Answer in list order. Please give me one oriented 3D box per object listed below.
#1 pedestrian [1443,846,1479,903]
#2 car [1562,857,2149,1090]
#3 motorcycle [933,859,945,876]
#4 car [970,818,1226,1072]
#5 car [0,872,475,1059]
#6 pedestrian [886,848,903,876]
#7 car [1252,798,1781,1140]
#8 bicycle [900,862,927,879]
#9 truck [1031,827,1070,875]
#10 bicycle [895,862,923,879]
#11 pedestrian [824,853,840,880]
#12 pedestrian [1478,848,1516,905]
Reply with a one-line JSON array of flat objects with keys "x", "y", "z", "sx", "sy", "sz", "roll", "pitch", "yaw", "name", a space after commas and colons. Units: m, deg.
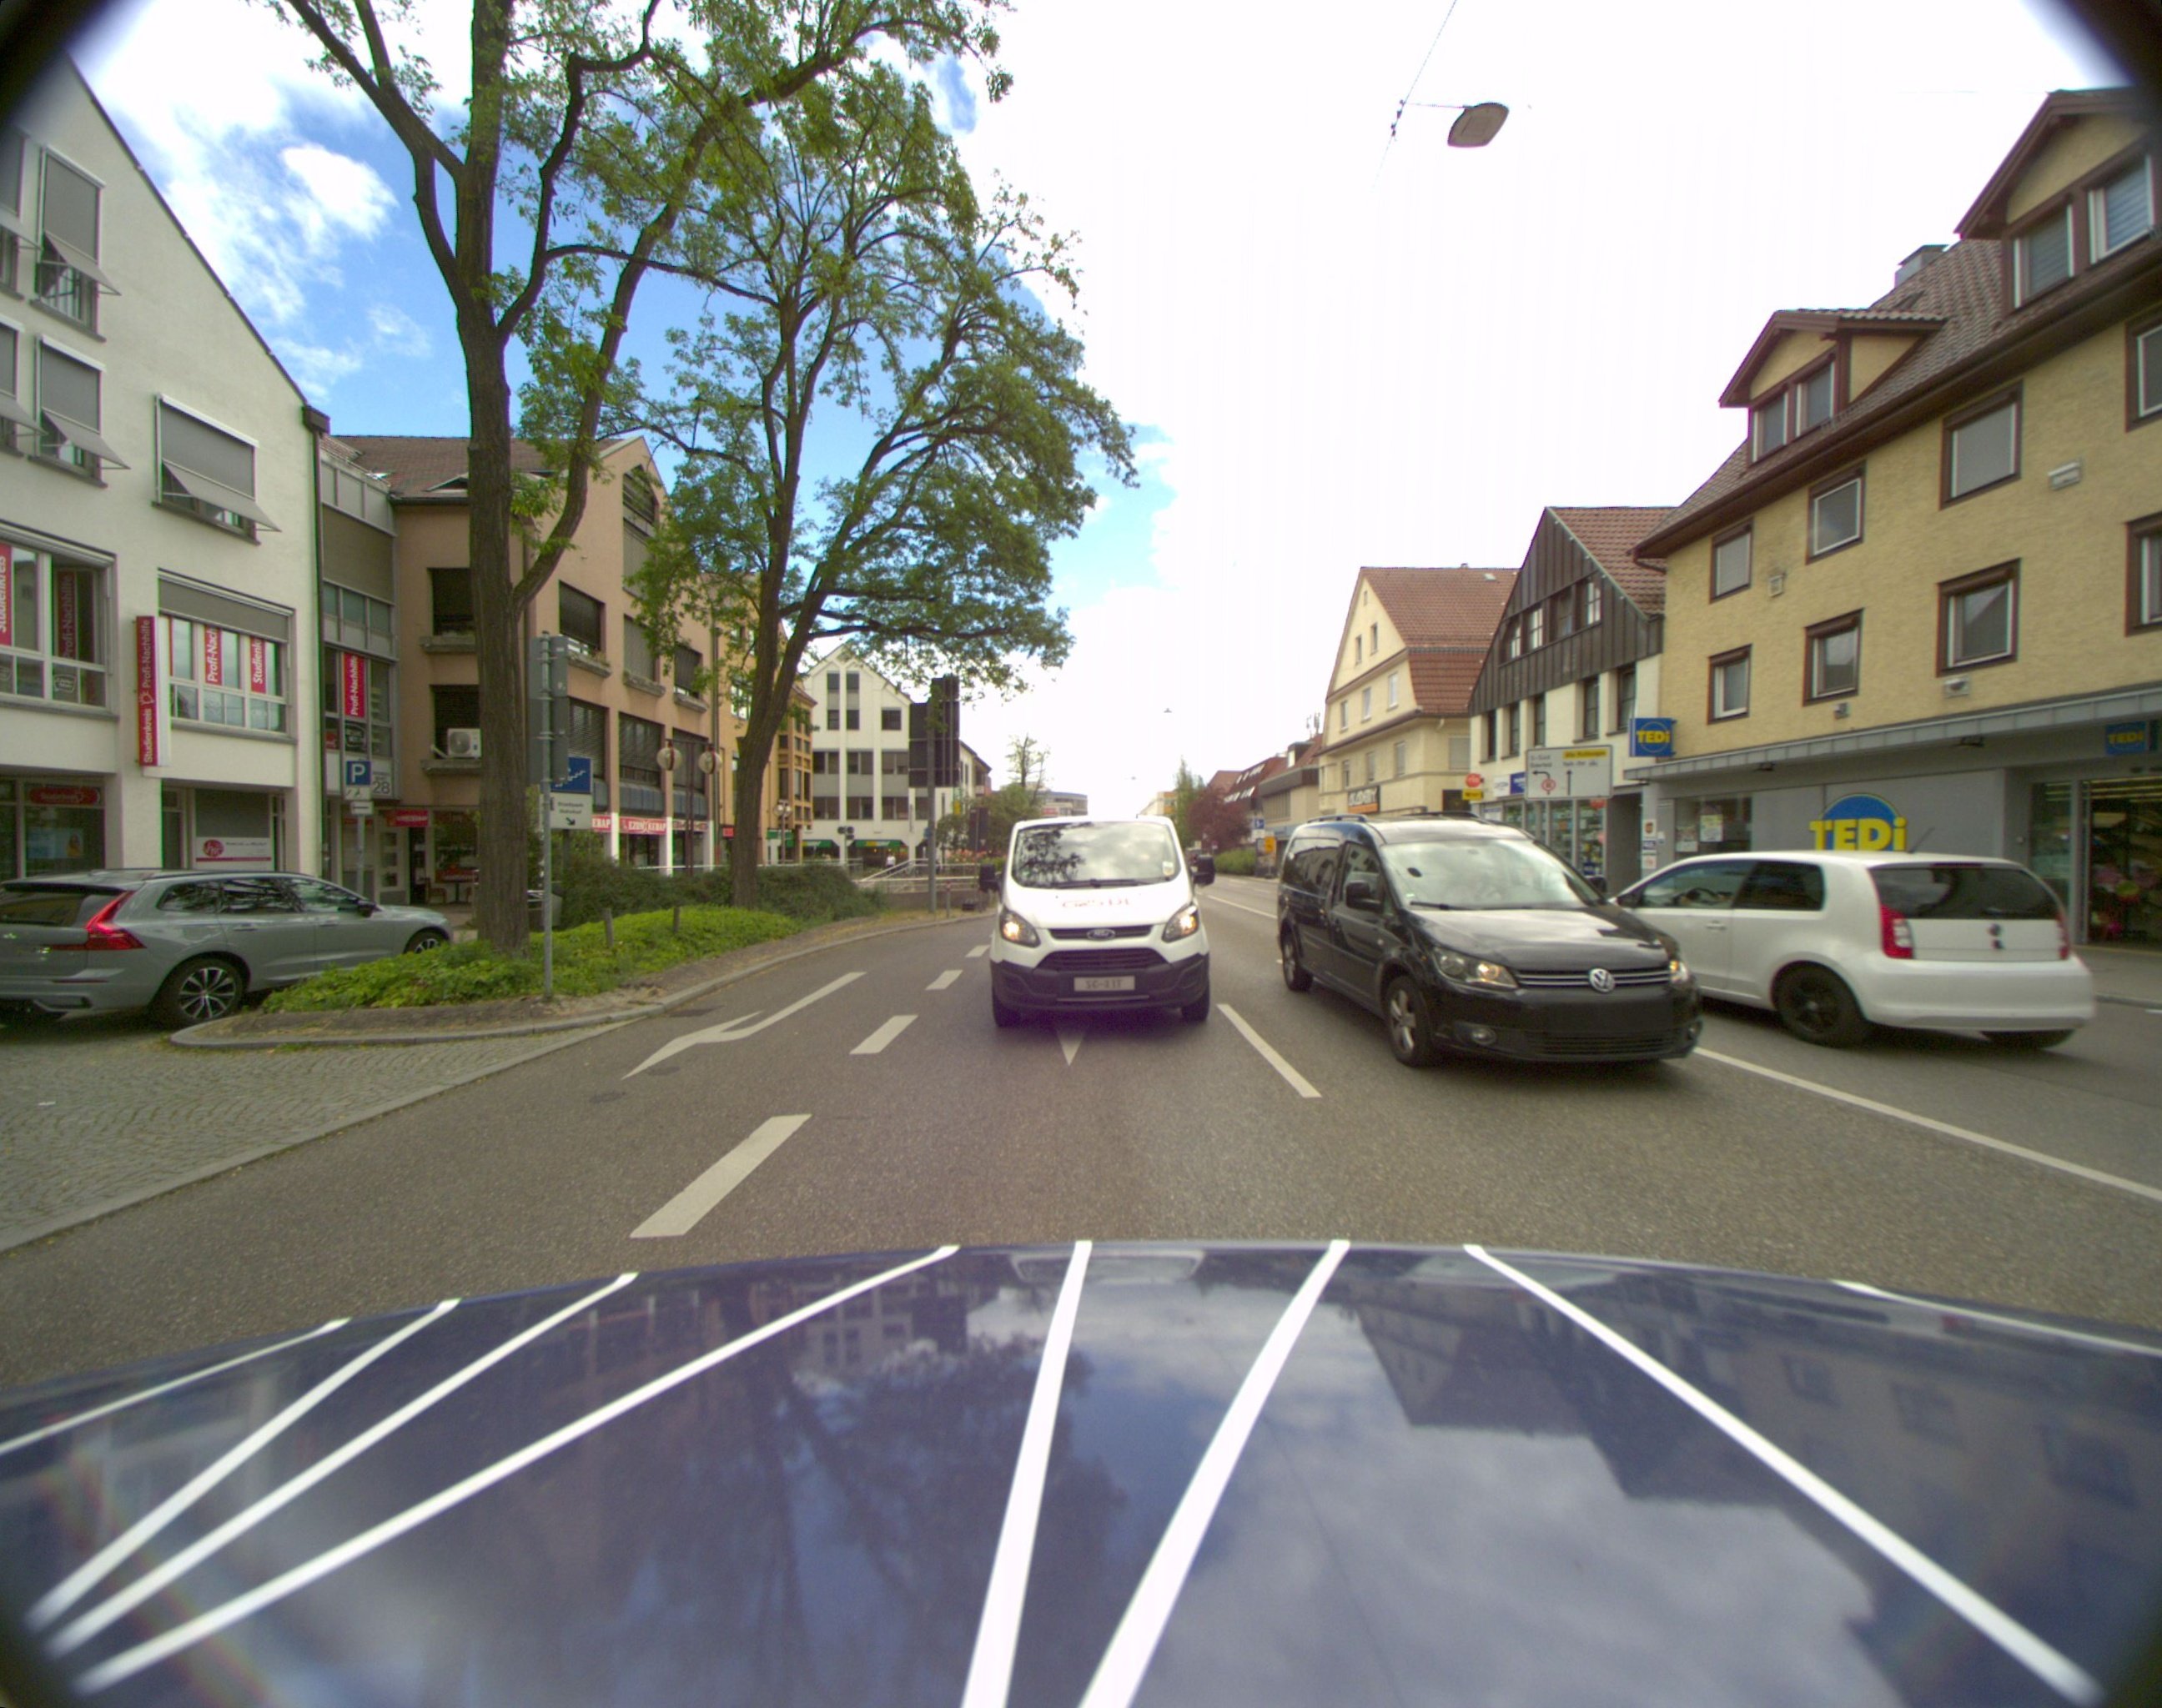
[{"x": 11.526, "y": 0.615, "z": 23.038, "sx": 0.689, "sy": 1.680, "sz": 0.742, "roll": -2, "pitch": 1, "yaw": 1, "name": "pedestrian"}, {"x": 6.095, "y": 0.778, "z": 6.637, "sx": 1.578, "sy": 1.480, "sz": 3.463, "roll": 0, "pitch": 0, "yaw": 0, "name": "car"}, {"x": -9.687, "y": 0.914, "z": 51.919, "sx": 0.464, "sy": 1.062, "sz": 1.995, "roll": 0, "pitch": 0, "yaw": 1, "name": "motorcycle"}, {"x": 0.145, "y": 0.696, "z": 8.464, "sx": 1.964, "sy": 1.948, "sz": 5.164, "roll": -1, "pitch": 0, "yaw": 0, "name": "car"}, {"x": -10.311, "y": 1.090, "z": 9.353, "sx": 1.999, "sy": 1.586, "sz": 4.762, "roll": 0, "pitch": 0, "yaw": -2, "name": "car"}, {"x": -12.328, "y": 0.548, "z": 50.341, "sx": 0.871, "sy": 1.812, "sz": 0.785, "roll": -2, "pitch": 1, "yaw": -3, "name": "pedestrian"}, {"x": 2.968, "y": 0.635, "z": 6.557, "sx": 1.749, "sy": 1.844, "sz": 4.633, "roll": -2, "pitch": 0, "yaw": -2, "name": "car"}, {"x": -10.273, "y": 1.007, "z": 46.627, "sx": 1.594, "sy": 0.963, "sz": 0.461, "roll": -1, "pitch": 1, "yaw": -14, "name": "bicycle"}, {"x": -2.318, "y": -0.277, "z": 60.866, "sx": 2.446, "sy": 3.464, "sz": 8.347, "roll": -2, "pitch": 1, "yaw": 1, "name": "truck"}, {"x": -10.401, "y": 0.988, "z": 45.945, "sx": 1.594, "sy": 0.996, "sz": 0.414, "roll": -1, "pitch": 1, "yaw": -13, "name": "bicycle"}, {"x": -16.851, "y": 0.841, "z": 51.343, "sx": 0.887, "sy": 1.747, "sz": 0.943, "roll": -1, "pitch": 1, "yaw": -11, "name": "pedestrian"}, {"x": 12.564, "y": 0.674, "z": 22.983, "sx": 0.689, "sy": 1.660, "sz": 0.709, "roll": -3, "pitch": 1, "yaw": 1, "name": "pedestrian"}]
